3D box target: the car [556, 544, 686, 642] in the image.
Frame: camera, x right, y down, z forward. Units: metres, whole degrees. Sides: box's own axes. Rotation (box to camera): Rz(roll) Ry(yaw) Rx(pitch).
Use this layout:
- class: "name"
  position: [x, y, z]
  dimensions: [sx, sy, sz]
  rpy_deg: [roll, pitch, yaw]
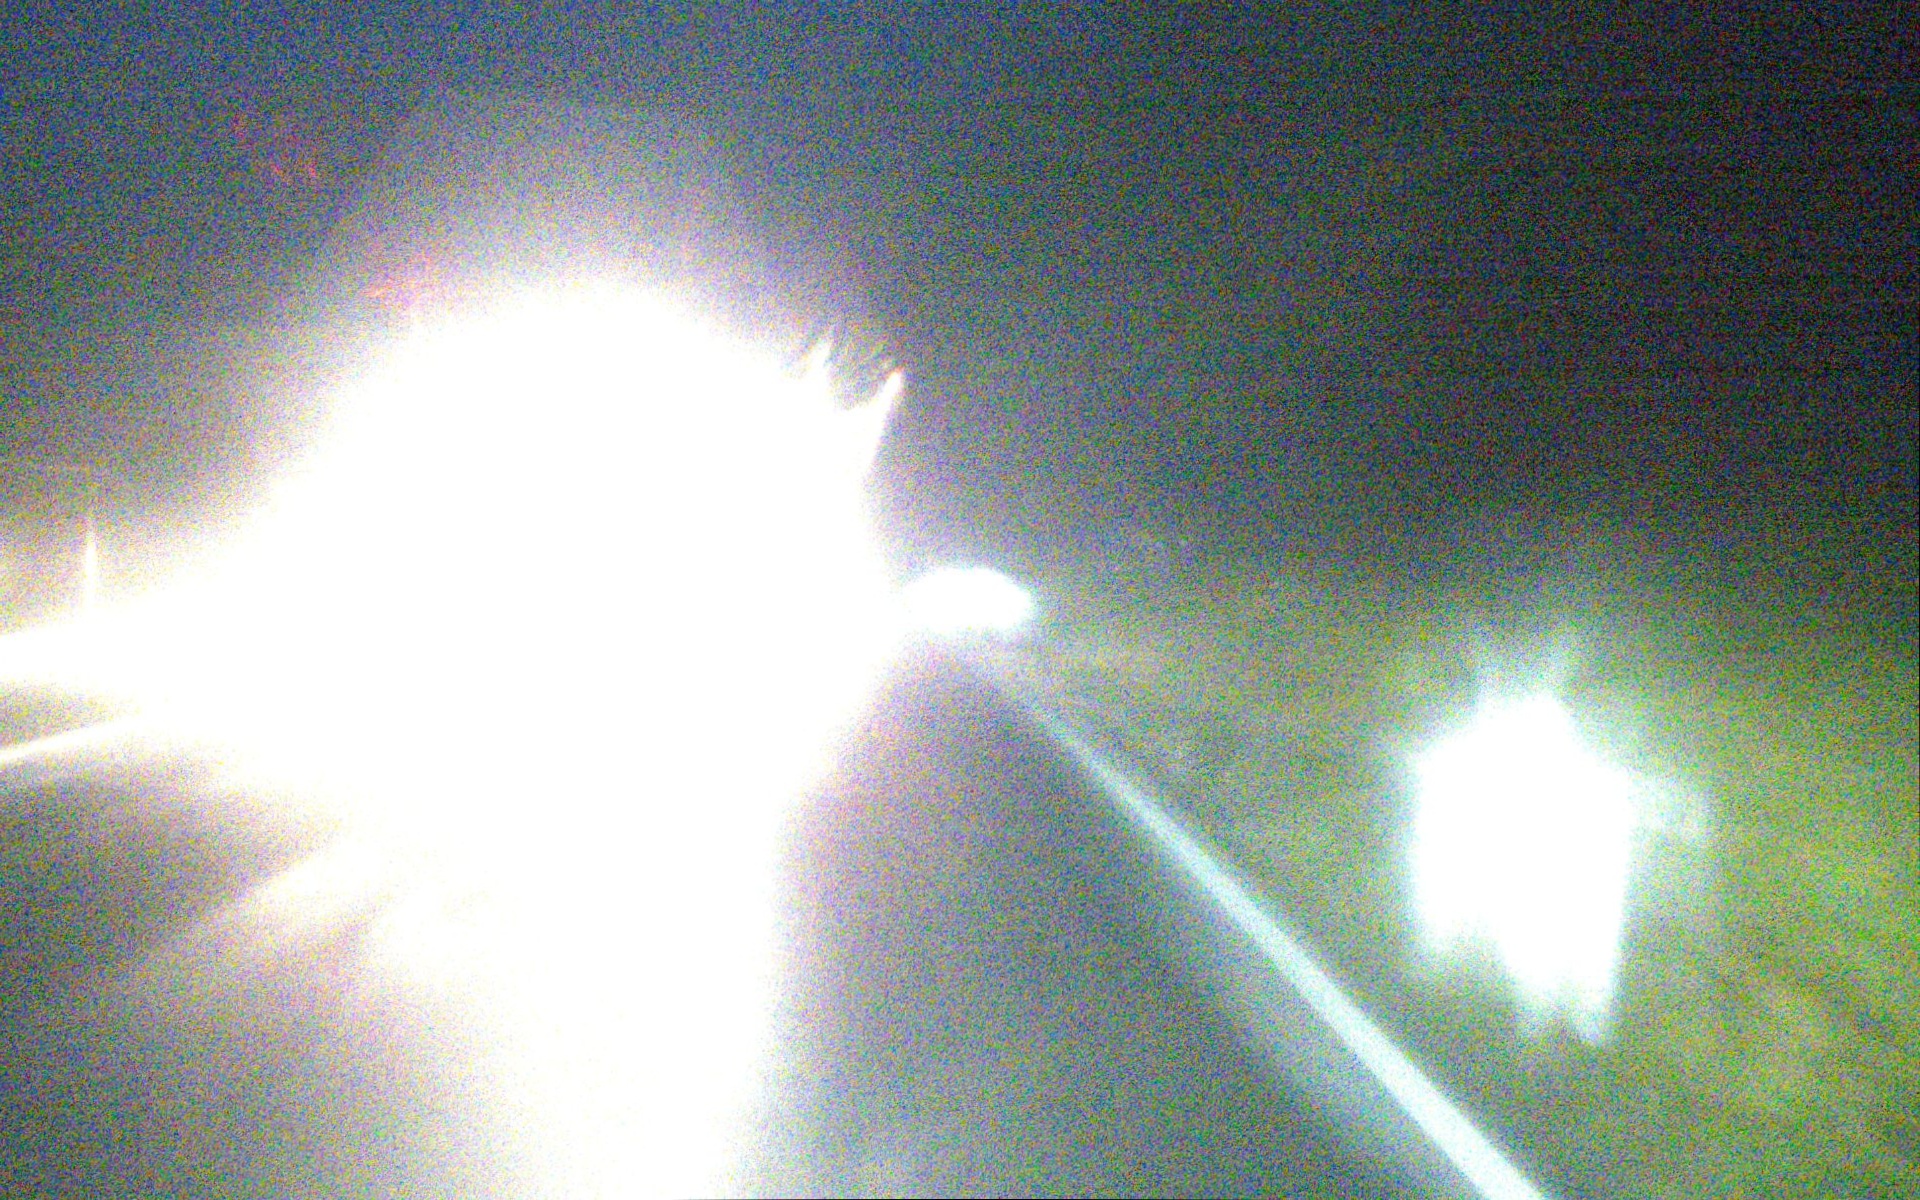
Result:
- class: "car"
  position: [-5.786, -0.150, 59.050]
  dimensions: [1.926, 1.569, 4.348]
  rpy_deg: [1, 2, -2]
